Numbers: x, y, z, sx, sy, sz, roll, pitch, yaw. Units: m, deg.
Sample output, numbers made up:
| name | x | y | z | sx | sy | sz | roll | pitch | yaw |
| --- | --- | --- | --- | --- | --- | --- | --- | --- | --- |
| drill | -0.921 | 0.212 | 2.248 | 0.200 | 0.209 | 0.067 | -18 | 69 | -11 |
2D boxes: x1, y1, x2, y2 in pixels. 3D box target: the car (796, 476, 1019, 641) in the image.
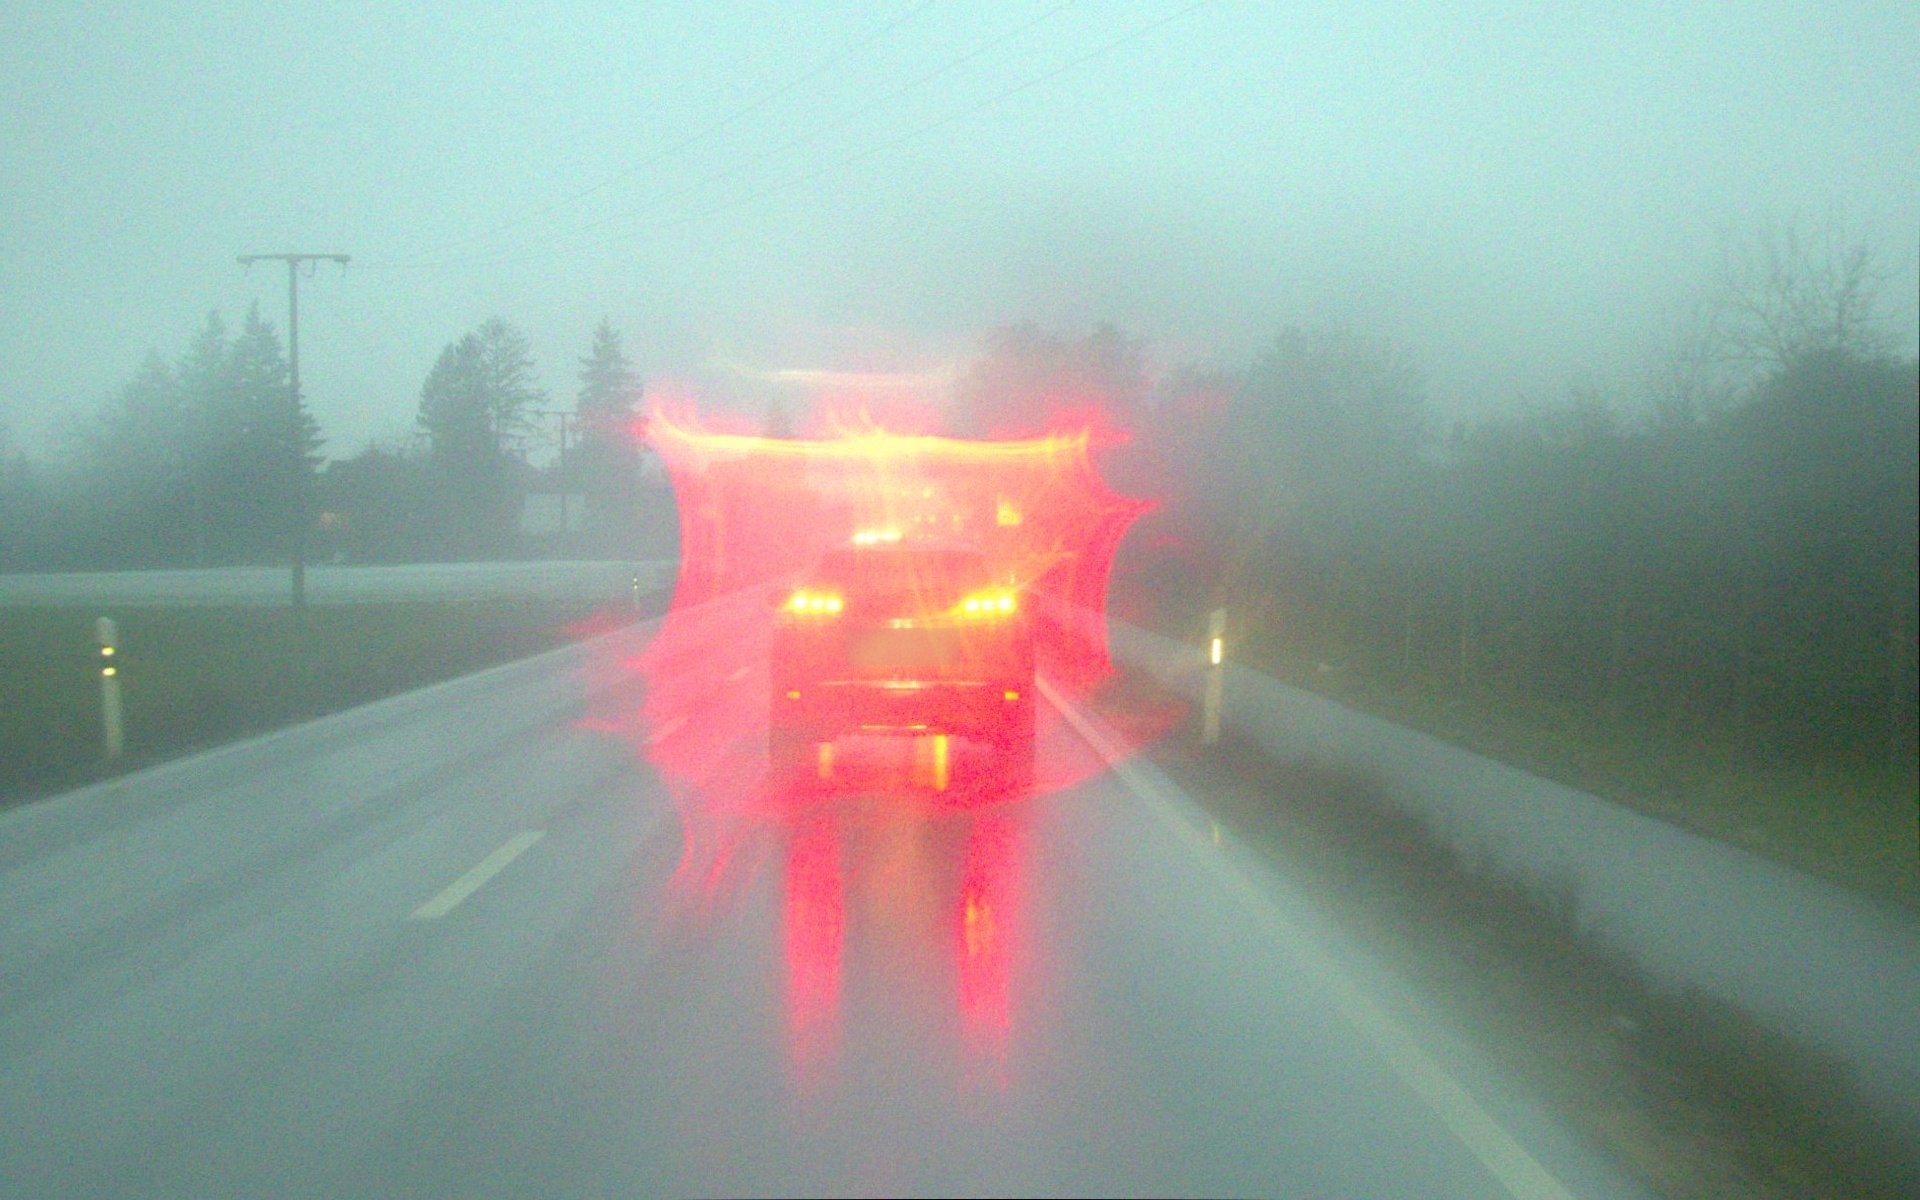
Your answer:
| name | x | y | z | sx | sy | sz | roll | pitch | yaw |
| --- | --- | --- | --- | --- | --- | --- | --- | --- | --- |
| car | -0.659 | -0.588 | 45.824 | 2.756 | 2.028 | 6.591 | 0 | 1 | 0 |

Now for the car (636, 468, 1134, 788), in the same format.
| name | x | y | z | sx | sy | sz | roll | pitch | yaw |
| --- | --- | --- | --- | --- | --- | --- | --- | --- | --- |
| car | -0.486 | 0.104 | 25.357 | 3.164 | 2.028 | 6.852 | 0 | 1 | 0 |
